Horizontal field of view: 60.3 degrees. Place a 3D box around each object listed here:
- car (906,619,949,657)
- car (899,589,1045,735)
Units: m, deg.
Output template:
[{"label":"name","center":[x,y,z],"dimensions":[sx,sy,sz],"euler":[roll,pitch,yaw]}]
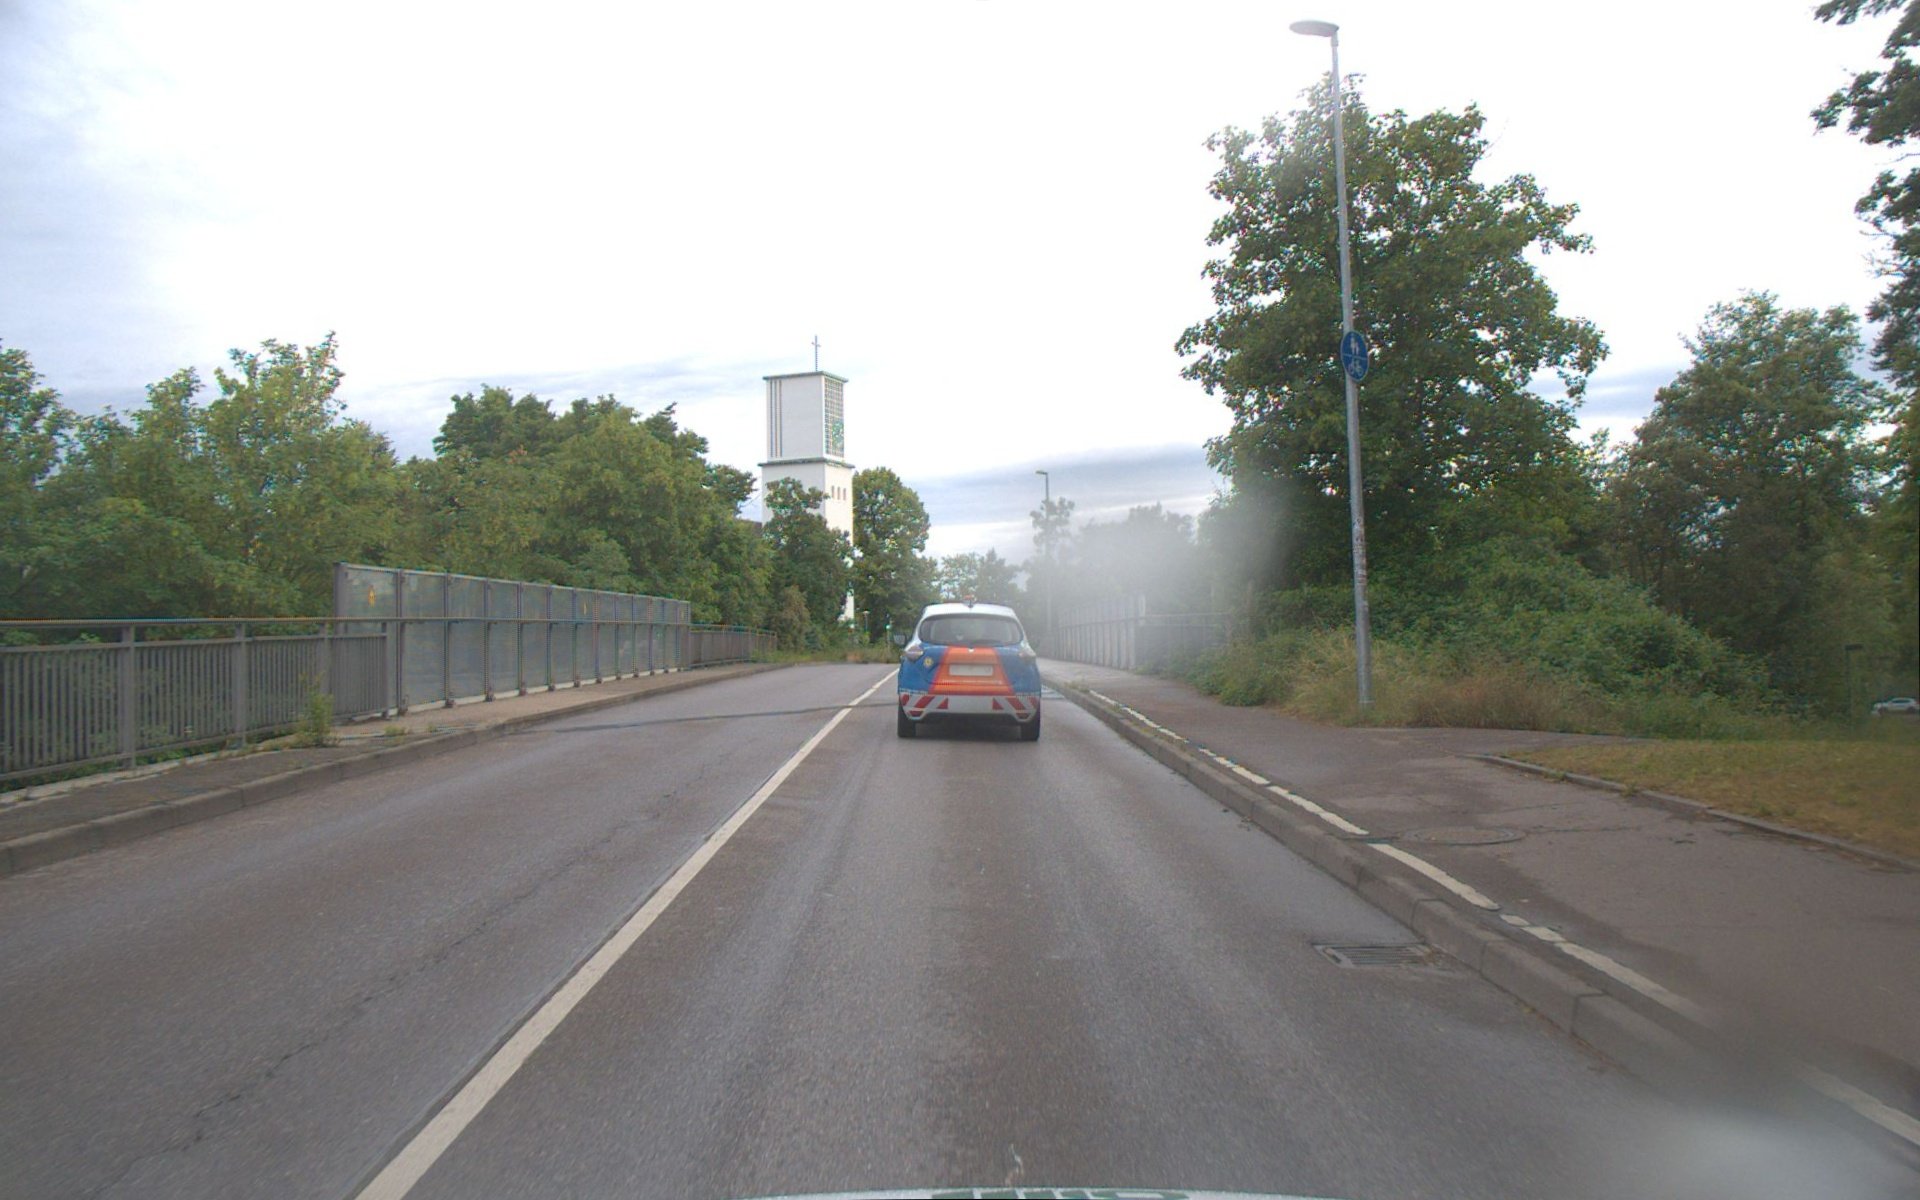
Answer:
[{"label":"car","center":[-1.512,1.709,75.700],"dimensions":[1.767,1.618,3.560],"euler":[-2,0,-3]},{"label":"car","center":[0.114,0.714,20.417],"dimensions":[1.623,1.621,3.567],"euler":[-1,-1,-1]}]
